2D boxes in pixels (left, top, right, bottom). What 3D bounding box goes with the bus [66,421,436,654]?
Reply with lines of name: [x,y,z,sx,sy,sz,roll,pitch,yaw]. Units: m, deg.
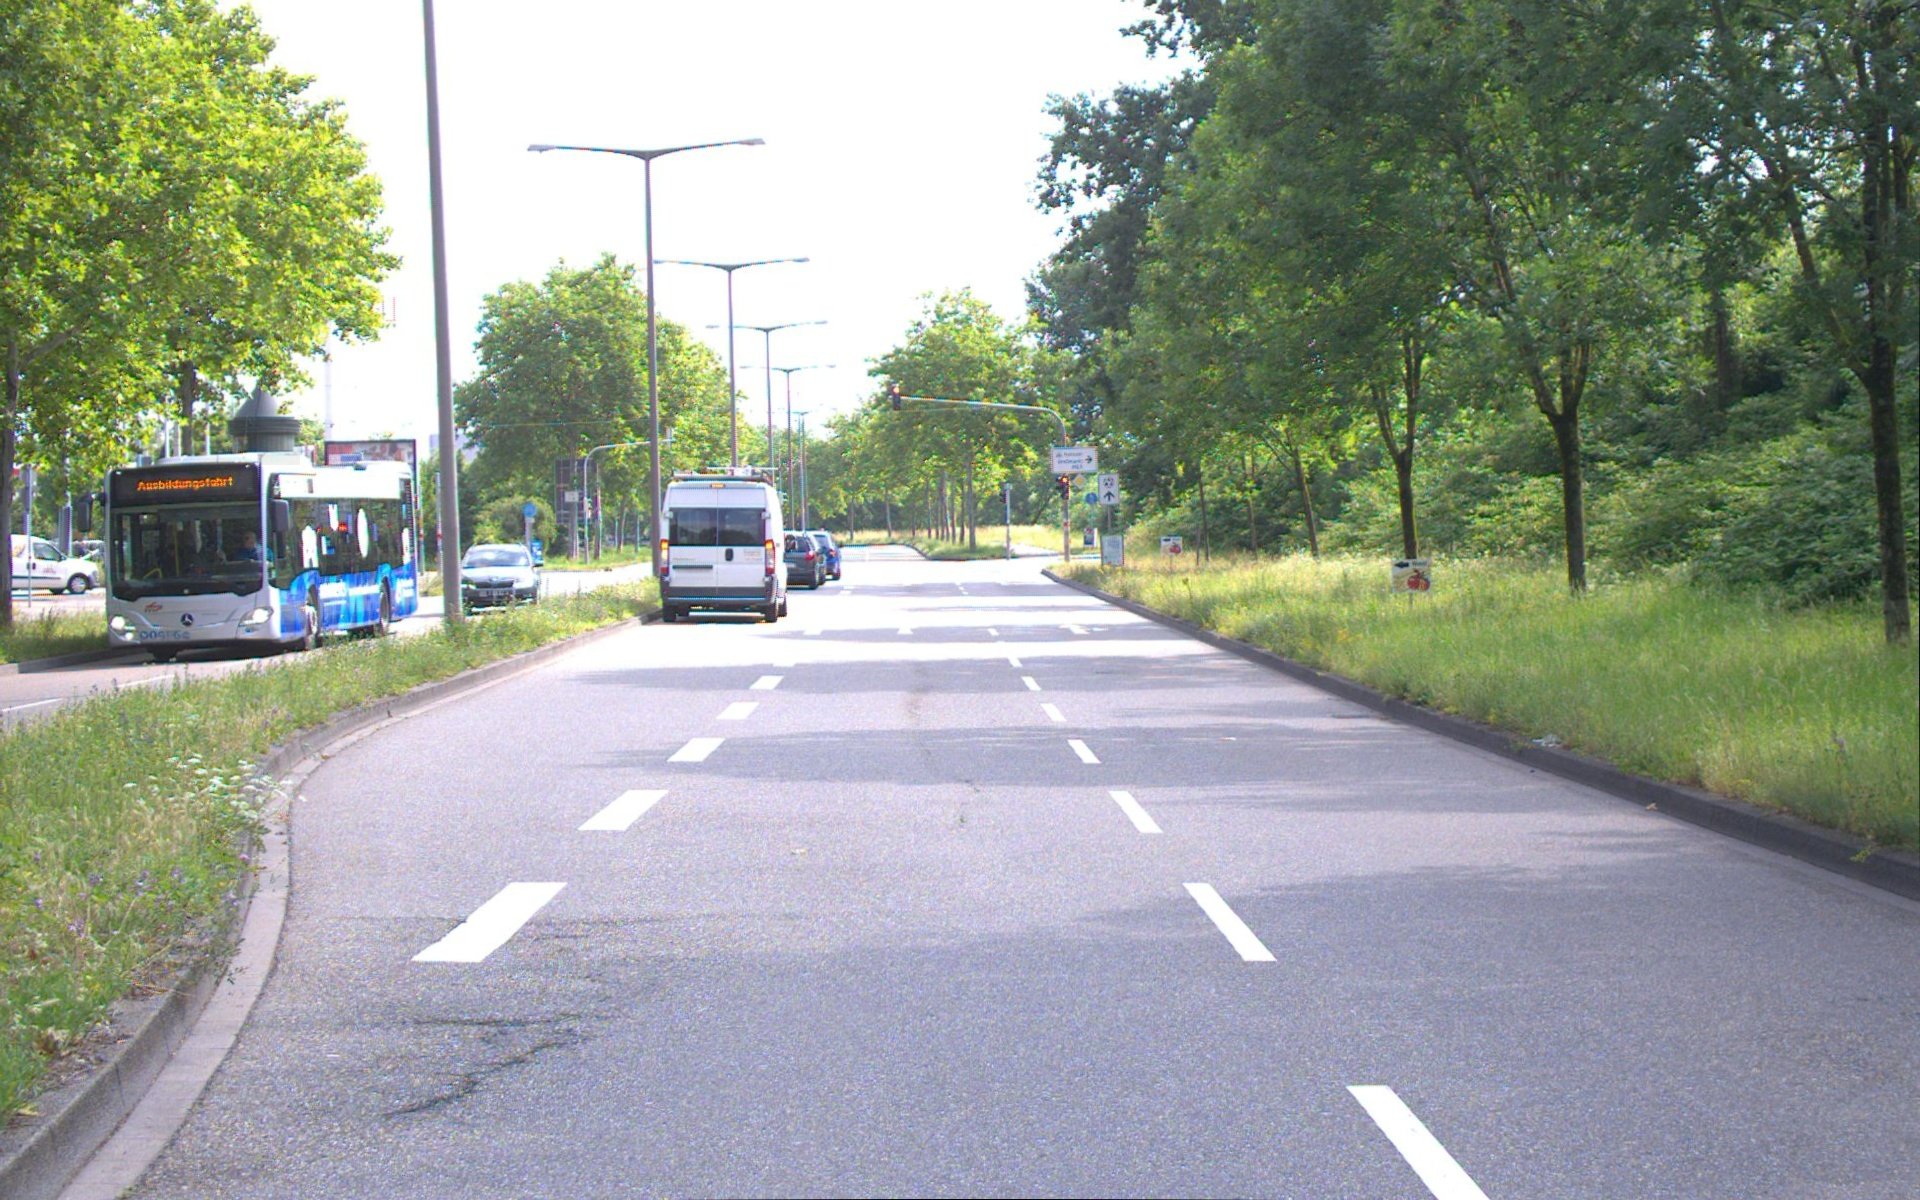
bus: [-11.215,-0.992,55.981,3.109,3.263,12.338,-2,1,1]

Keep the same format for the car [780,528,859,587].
car: [-3.722,-1.125,90.500,1.806,1.465,3.857,-1,1,-6]

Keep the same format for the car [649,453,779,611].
car: [-4.377,-1.273,61.810,2.197,2.716,4.932,0,2,-3]

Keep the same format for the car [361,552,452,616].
car: [-15.020,-0.418,93.460,1.884,1.578,3.881,0,-2,-1]

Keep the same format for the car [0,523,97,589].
car: [-28.587,-1.342,104.844,3.988,1.832,1.864,2,-3,-40]

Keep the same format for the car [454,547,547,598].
car: [-9.786,-0.590,73.374,1.559,1.037,3.414,-1,1,-1]

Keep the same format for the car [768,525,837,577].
car: [-4.733,-1.471,102.829,1.806,1.465,3.857,-1,1,-6]
